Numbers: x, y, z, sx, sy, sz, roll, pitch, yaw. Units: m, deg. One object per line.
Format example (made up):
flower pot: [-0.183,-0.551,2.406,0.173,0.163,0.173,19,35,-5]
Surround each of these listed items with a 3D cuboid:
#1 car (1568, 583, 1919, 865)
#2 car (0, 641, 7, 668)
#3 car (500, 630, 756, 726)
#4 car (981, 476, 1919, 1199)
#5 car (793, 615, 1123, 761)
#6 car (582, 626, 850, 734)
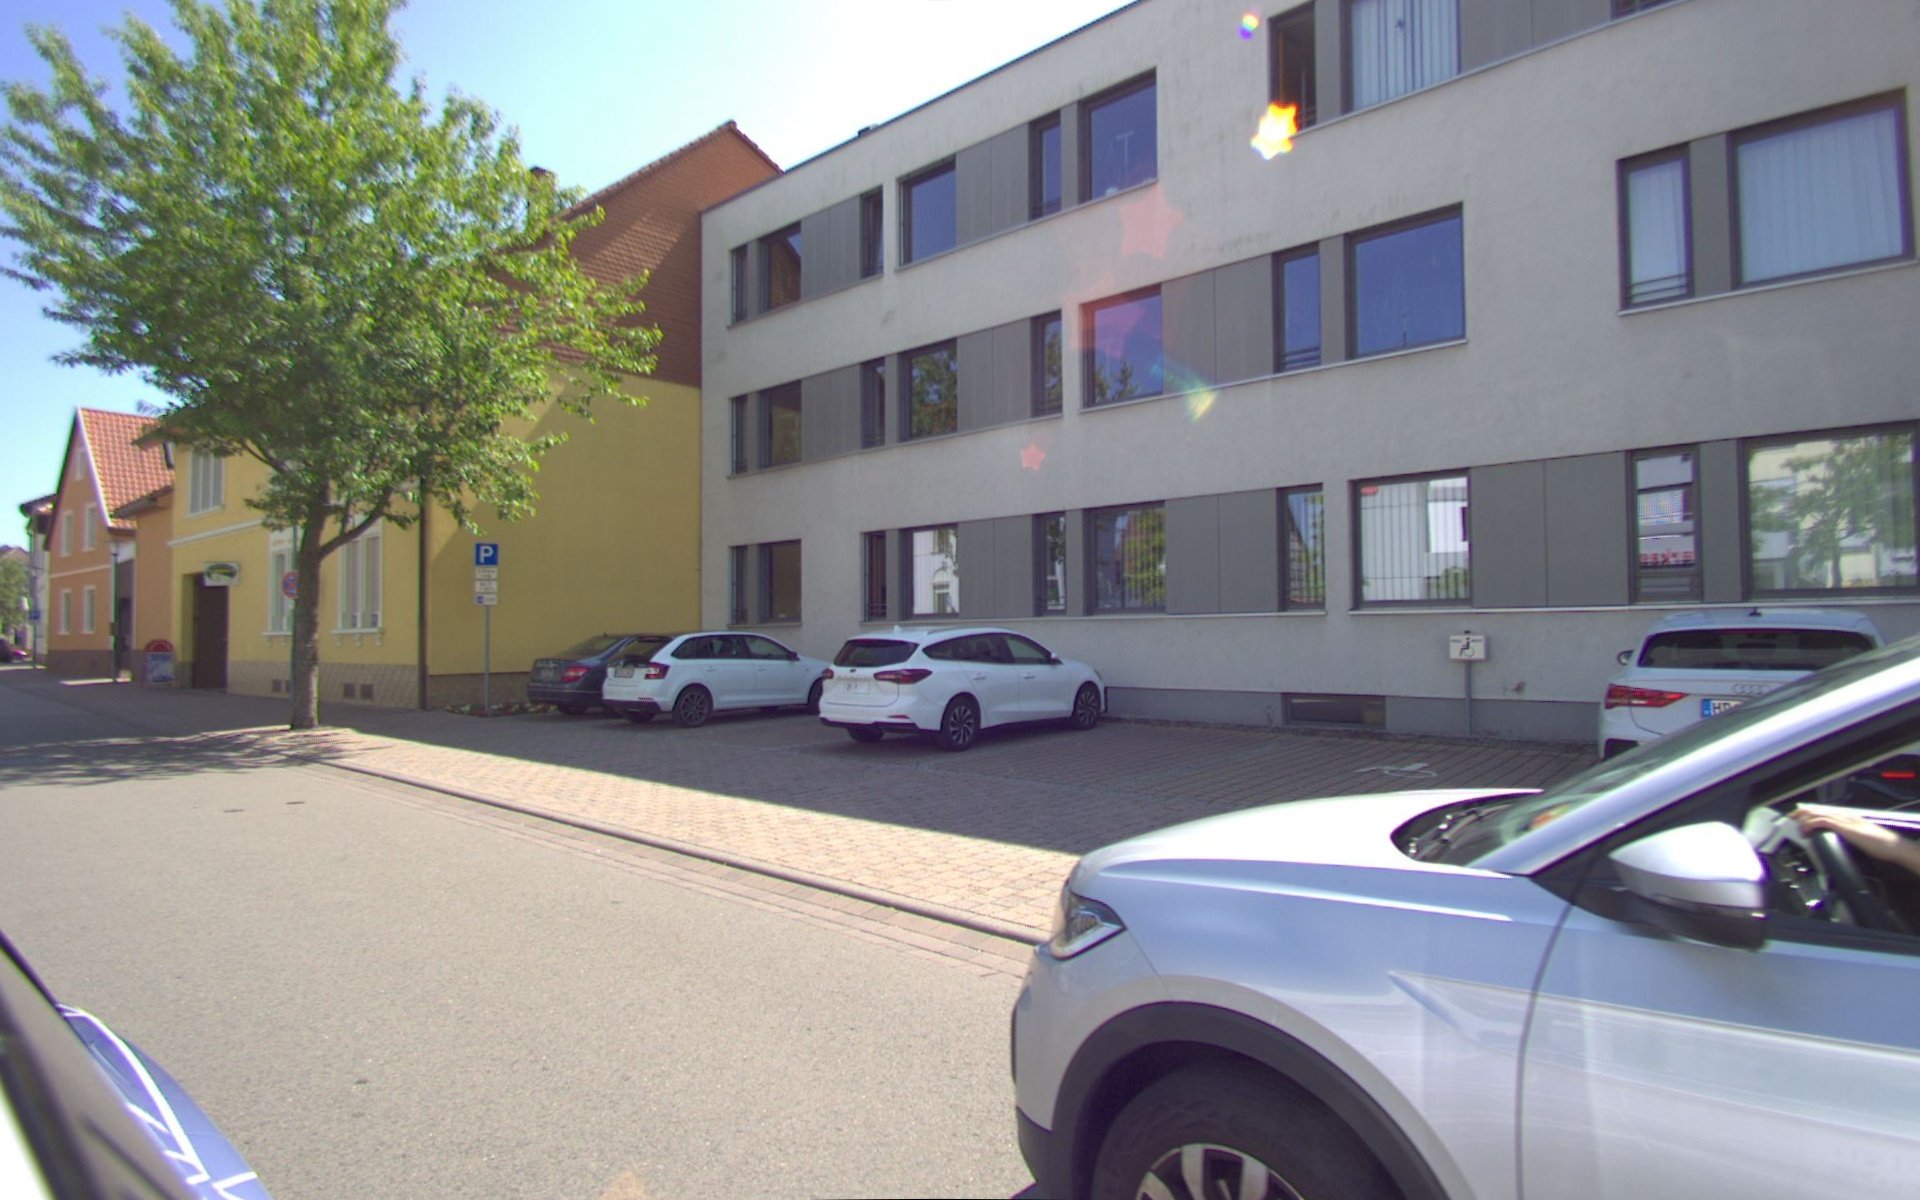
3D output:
car: [6.302,0.715,7.739,2.146,1.566,4.461,-2,-2,40]
car: [-60.293,3.360,62.564,1.836,1.642,4.052,2,-3,-42]
car: [-5.850,1.320,18.184,1.969,1.442,3.950,-3,-2,37]
car: [2.125,0.655,1.408,4.000,1.585,1.831,-3,-3,43]
car: [0.146,1.000,13.431,1.934,1.566,4.457,-1,-1,41]
car: [-3.865,1.218,16.527,1.806,1.462,3.946,-3,-2,40]
